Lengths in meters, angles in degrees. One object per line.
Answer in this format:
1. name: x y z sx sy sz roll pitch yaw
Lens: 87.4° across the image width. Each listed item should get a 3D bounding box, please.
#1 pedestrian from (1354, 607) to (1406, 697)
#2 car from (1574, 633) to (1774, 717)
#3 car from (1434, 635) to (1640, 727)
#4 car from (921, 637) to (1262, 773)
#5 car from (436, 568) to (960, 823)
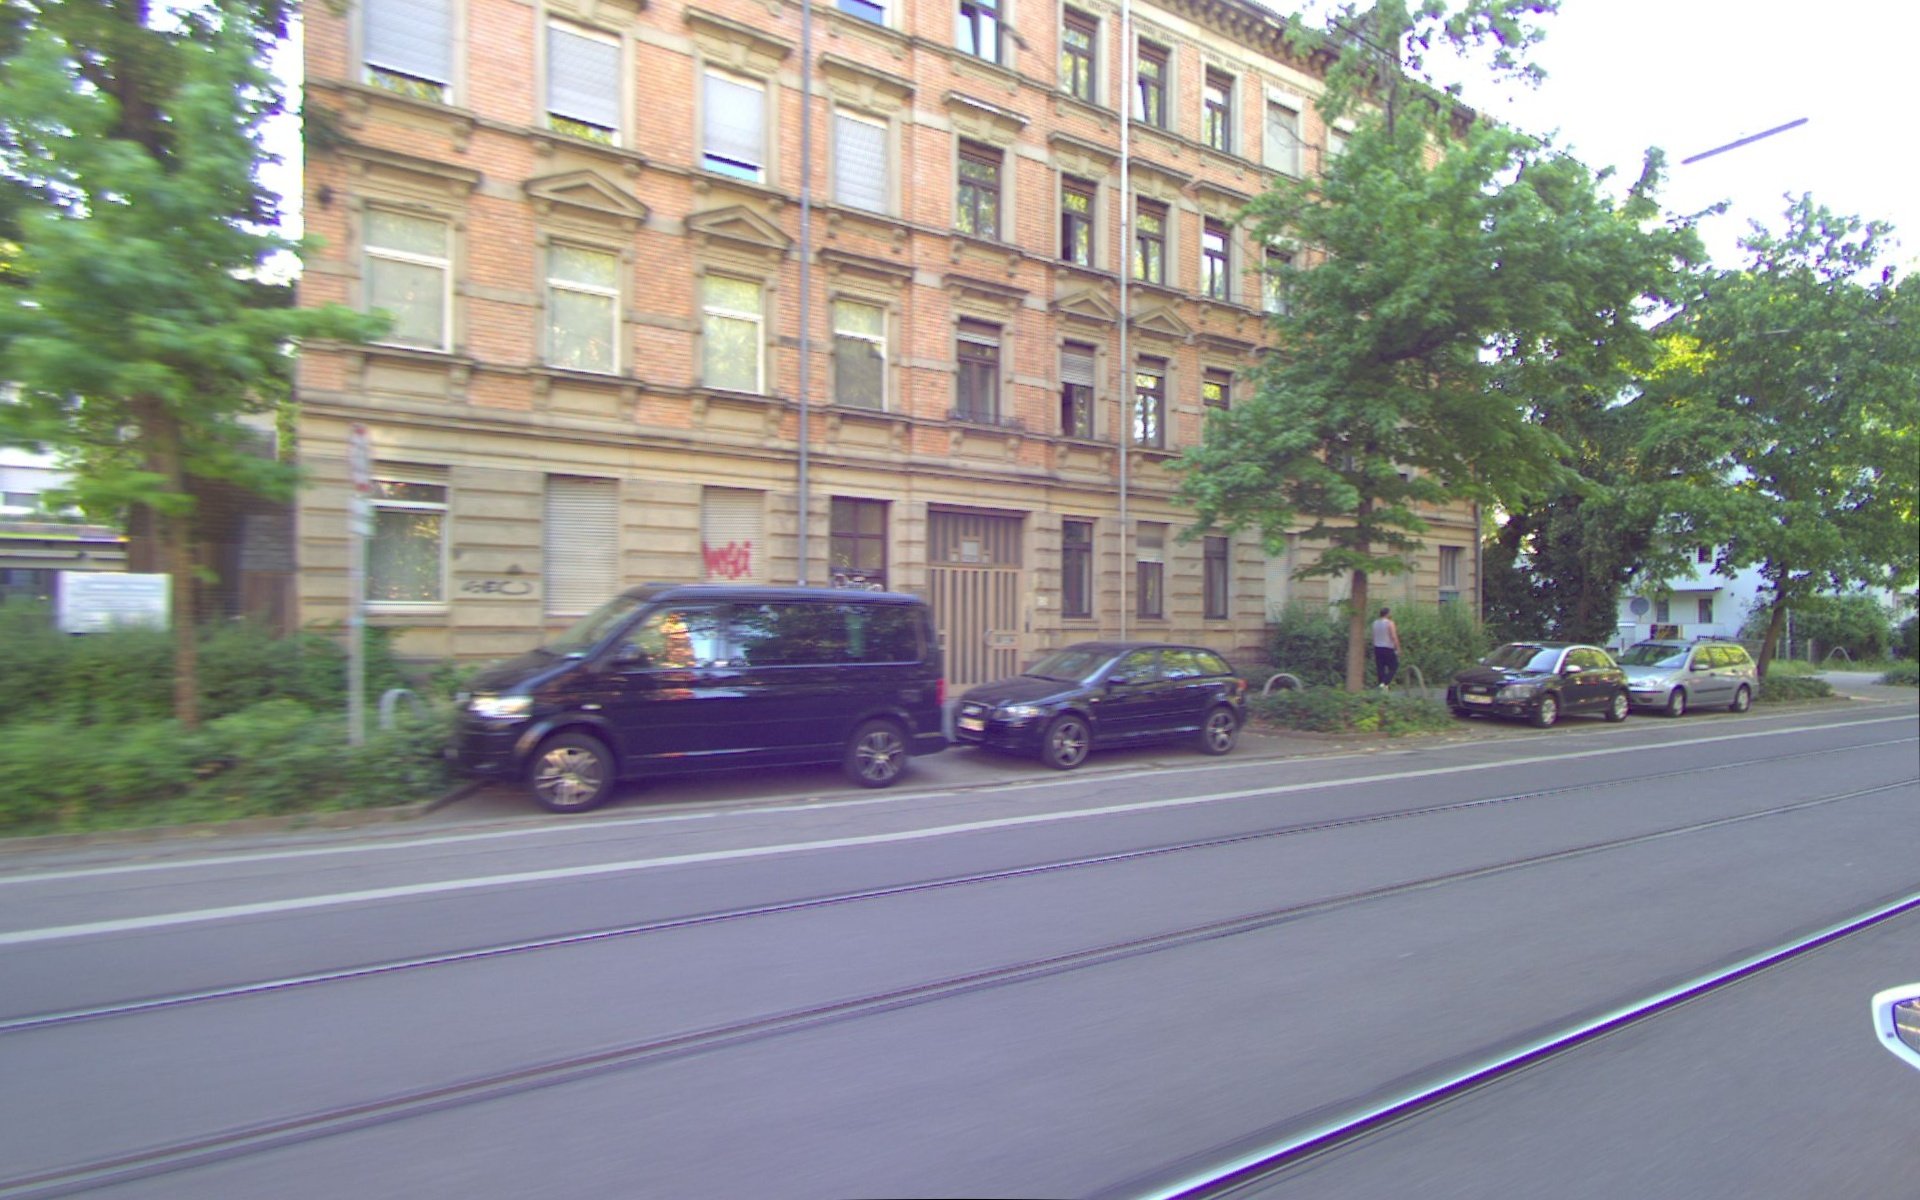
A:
1. pedestrian: 9.016 1.103 21.549 0.721 1.872 0.737 1 0 -33
2. car: 15.070 1.501 21.149 4.480 1.571 1.692 1 -1 -29
3. car: 10.552 1.401 18.304 3.906 1.464 1.649 1 -1 -33
4. car: 1.765 1.232 13.015 4.224 1.478 1.842 1 -2 -33
5. car: -2.526 0.832 10.193 4.782 2.040 1.982 1 -2 -33
